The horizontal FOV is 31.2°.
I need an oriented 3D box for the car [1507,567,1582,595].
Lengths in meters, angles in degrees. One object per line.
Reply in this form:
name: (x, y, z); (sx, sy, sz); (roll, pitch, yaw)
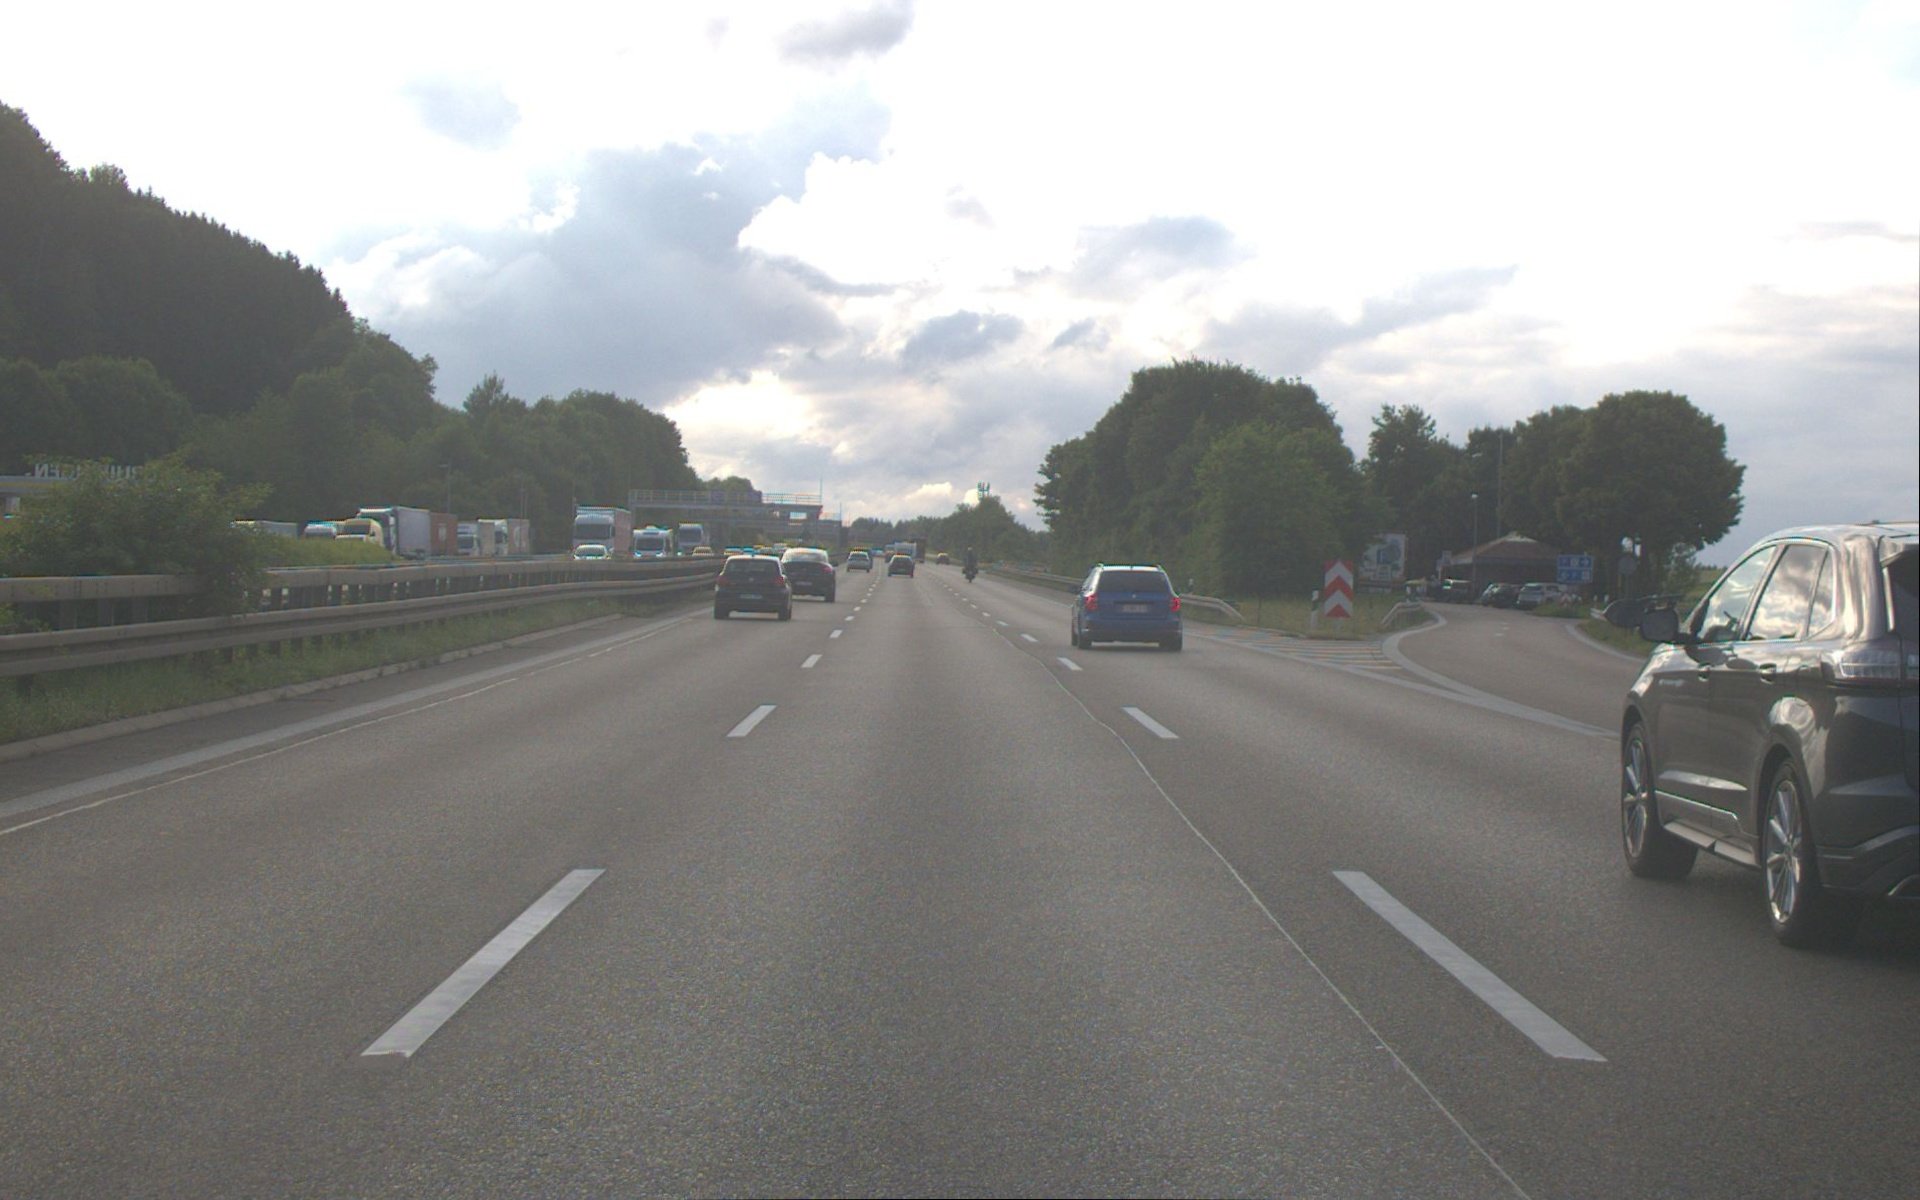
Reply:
car: (33.632, -1.091, 197.722); (4.297, 1.550, 1.989); (1, 0, -41)

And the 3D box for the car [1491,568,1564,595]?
car: (33.598, -1.061, 203.542); (4.297, 1.550, 1.989); (1, 0, -41)

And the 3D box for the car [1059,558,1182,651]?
car: (2.695, 0.052, 58.417); (1.767, 1.428, 4.001); (-1, 2, -2)

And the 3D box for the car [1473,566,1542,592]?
car: (34.269, -1.311, 215.151); (4.297, 1.550, 1.989); (1, 0, -41)

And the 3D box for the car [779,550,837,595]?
car: (-4.960, -0.924, 112.768); (1.565, 1.375, 4.000); (-2, 1, 2)

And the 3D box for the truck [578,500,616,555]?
truck: (-23.937, -4.766, 226.722); (1.993, 3.402, 6.739); (0, 0, -2)

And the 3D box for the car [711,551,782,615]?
car: (-4.868, -0.403, 78.100); (1.538, 1.343, 3.677); (-2, 1, -4)

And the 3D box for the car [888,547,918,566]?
car: (-3.937, -3.000, 236.342); (1.750, 1.218, 4.001); (-2, 1, -5)

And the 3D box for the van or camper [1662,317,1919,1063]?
van or camper: (4.122, 0.252, 10.818); (2.547, 2.231, 5.330); (0, 1, -2)

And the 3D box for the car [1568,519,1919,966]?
car: (3.964, 0.484, 14.925); (1.786, 1.647, 4.482); (0, 1, -1)
